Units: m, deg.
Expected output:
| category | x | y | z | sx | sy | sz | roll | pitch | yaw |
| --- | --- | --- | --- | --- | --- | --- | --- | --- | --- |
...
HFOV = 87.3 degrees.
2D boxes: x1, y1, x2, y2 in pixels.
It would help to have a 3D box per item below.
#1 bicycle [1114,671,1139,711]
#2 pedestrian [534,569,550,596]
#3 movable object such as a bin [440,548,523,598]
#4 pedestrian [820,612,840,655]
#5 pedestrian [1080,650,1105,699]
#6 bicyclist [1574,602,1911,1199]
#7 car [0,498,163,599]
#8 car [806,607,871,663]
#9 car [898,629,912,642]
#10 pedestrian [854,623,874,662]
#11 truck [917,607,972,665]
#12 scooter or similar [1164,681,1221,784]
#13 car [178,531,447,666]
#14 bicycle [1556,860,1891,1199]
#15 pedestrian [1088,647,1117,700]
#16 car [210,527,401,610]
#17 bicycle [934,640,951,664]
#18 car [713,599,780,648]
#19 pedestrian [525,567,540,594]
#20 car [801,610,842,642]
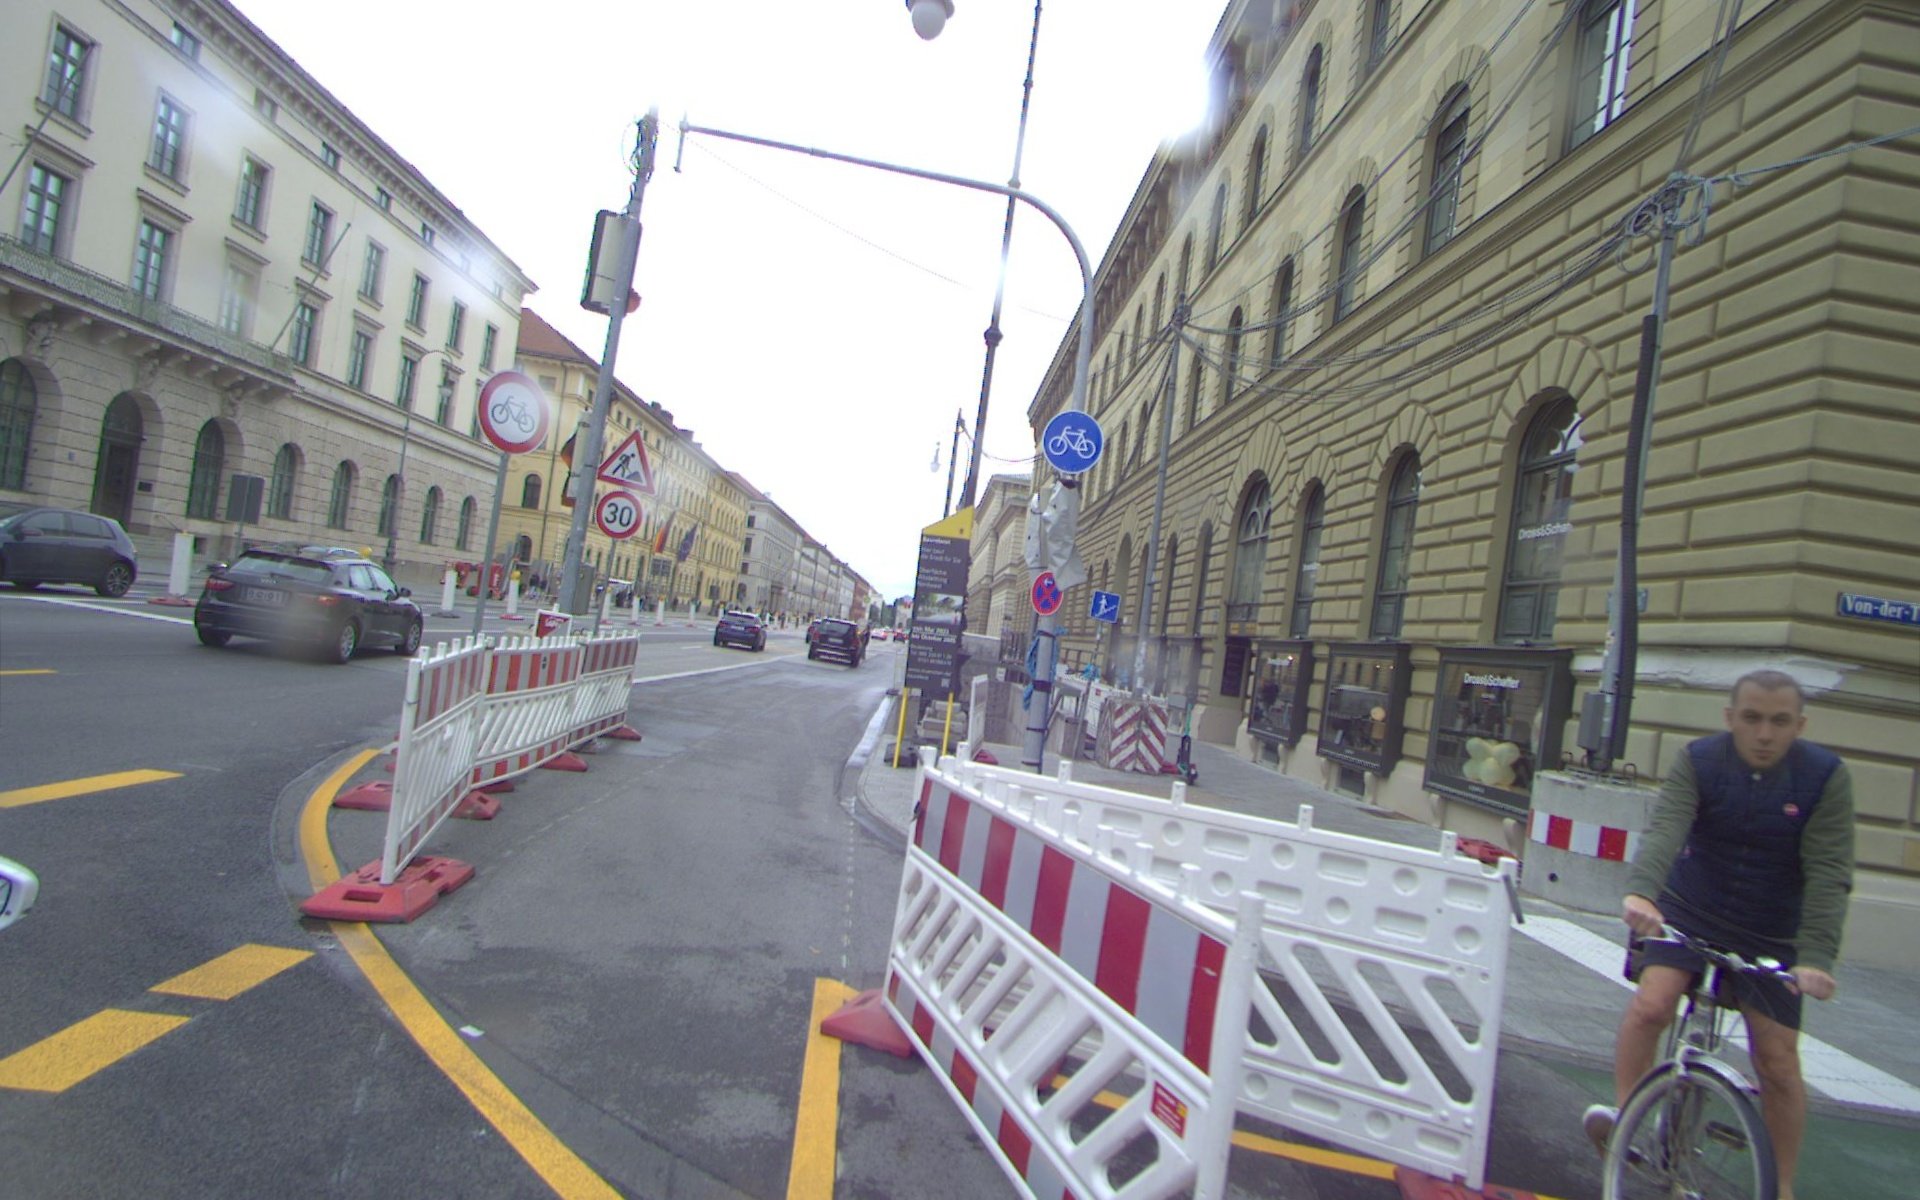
| category | x | y | z | sx | sy | sz | roll | pitch | yaw |
| --- | --- | --- | --- | --- | --- | --- | --- | --- | --- |
| bicycle | 4.945 | 2.682 | 29.901 | 0.371 | 1.034 | 1.651 | 8 | -1 | 1 |
| pedestrian | -27.908 | -1.157 | 67.093 | 0.603 | 1.671 | 0.617 | 8 | -2 | -5 |
| movable object such as a bin | -25.574 | -1.372 | 54.017 | 1.488 | 2.035 | 5.981 | 8 | -3 | -1 |
| pedestrian | -6.047 | 1.552 | 46.758 | 0.606 | 1.896 | 0.542 | 8 | -2 | 2 |
| pedestrian | 4.497 | 2.526 | 34.062 | 0.491 | 1.571 | 0.631 | 7 | -2 | 24 |
| bicyclist | 2.302 | 1.009 | 2.997 | 0.559 | 1.874 | 0.797 | 6 | -3 | 39 |
| car | -15.702 | -0.915 | 16.582 | 1.718 | 1.404 | 4.243 | 7 | -3 | -2 |
| car | -4.528 | 1.315 | 38.173 | 2.039 | 1.680 | 4.222 | 9 | -2 | -4 |
| car | -8.100 | 5.244 | 148.808 | 1.832 | 1.595 | 4.003 | 8 | -3 | -1 |
| pedestrian | -4.444 | 1.957 | 46.648 | 0.606 | 1.721 | 0.542 | 8 | -2 | 1 |
| truck | -0.801 | 2.109 | 57.197 | 2.582 | 2.794 | 5.814 | 8 | -3 | 2 |
| scooter or similar | 3.134 | 1.761 | 13.625 | 0.344 | 1.263 | 1.141 | 8 | -2 | 1 |
| car | -9.062 | 0.000 | 14.534 | 1.841 | 1.403 | 3.992 | 10 | -2 | -13 |
| bicycle | 2.316 | 1.426 | 3.070 | 0.578 | 1.022 | 1.652 | 6 | -3 | 39 |
| pedestrian | 4.943 | 2.560 | 34.841 | 0.550 | 1.731 | 0.676 | 7 | -2 | 31 |
| car | -15.989 | -0.691 | 24.926 | 1.759 | 1.585 | 4.577 | 6 | -2 | -2 |
| bicycle | -0.806 | 2.459 | 47.094 | 0.510 | 1.033 | 1.653 | 8 | -3 | 5 |
| car | -8.514 | 0.993 | 40.510 | 1.742 | 1.634 | 4.003 | 8 | -3 | -1 |
| pedestrian | -28.474 | -1.265 | 67.041 | 0.544 | 1.694 | 0.617 | 8 | -2 | -5 |
| car | -8.945 | 1.702 | 65.202 | 1.964 | 1.792 | 4.002 | 8 | -2 | -1 |
